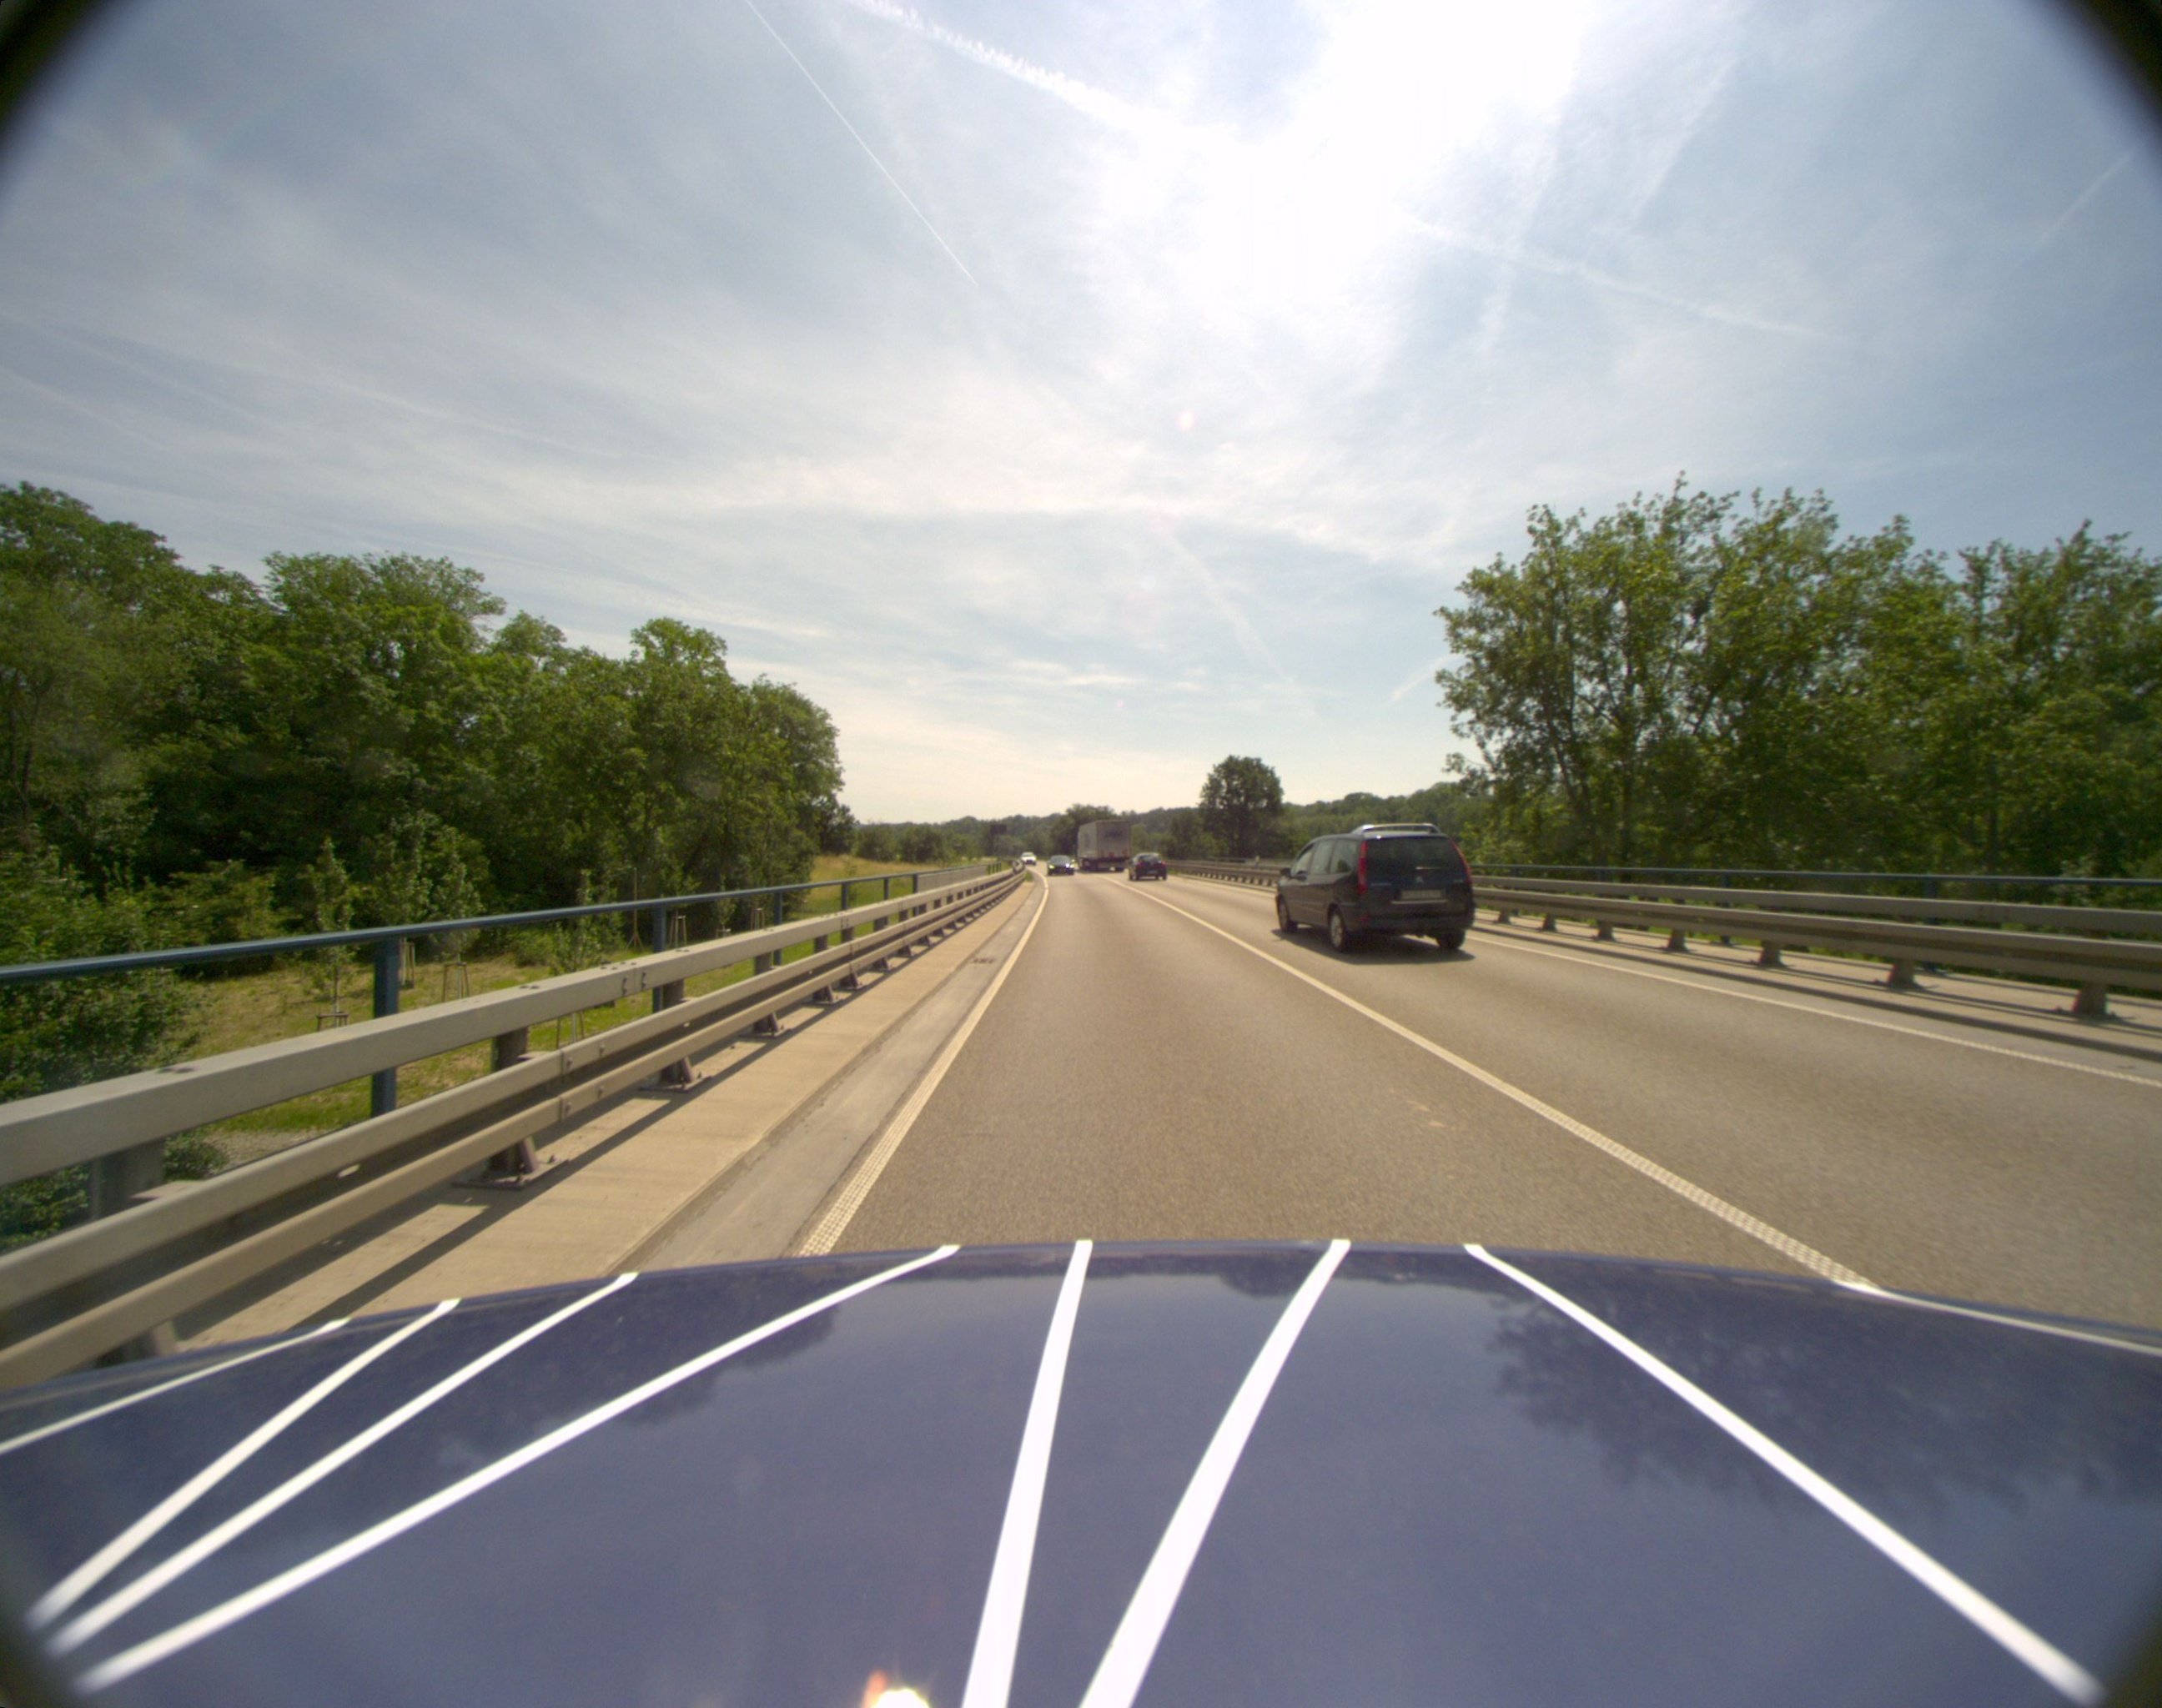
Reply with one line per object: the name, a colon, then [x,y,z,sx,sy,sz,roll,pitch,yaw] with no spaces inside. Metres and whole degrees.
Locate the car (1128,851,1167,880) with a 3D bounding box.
car: [3.619,0.604,41.974,1.666,1.449,3.892,-1,1,-2]

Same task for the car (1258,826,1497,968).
car: [4.459,0.572,12.425,1.857,1.788,4.977,-2,0,-1]

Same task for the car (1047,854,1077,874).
car: [-1.440,0.705,54.658,1.981,1.333,3.999,-2,-1,-3]

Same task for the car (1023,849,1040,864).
car: [-6.469,0.347,98.641,1.981,1.779,3.997,-2,1,-7]

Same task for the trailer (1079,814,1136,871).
trailer: [1.949,-0.945,64.151,2.861,4.164,14.488,-2,1,-5]

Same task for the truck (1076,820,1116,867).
truck: [1.352,-0.999,70.601,2.855,4.137,6.326,-2,1,-6]
